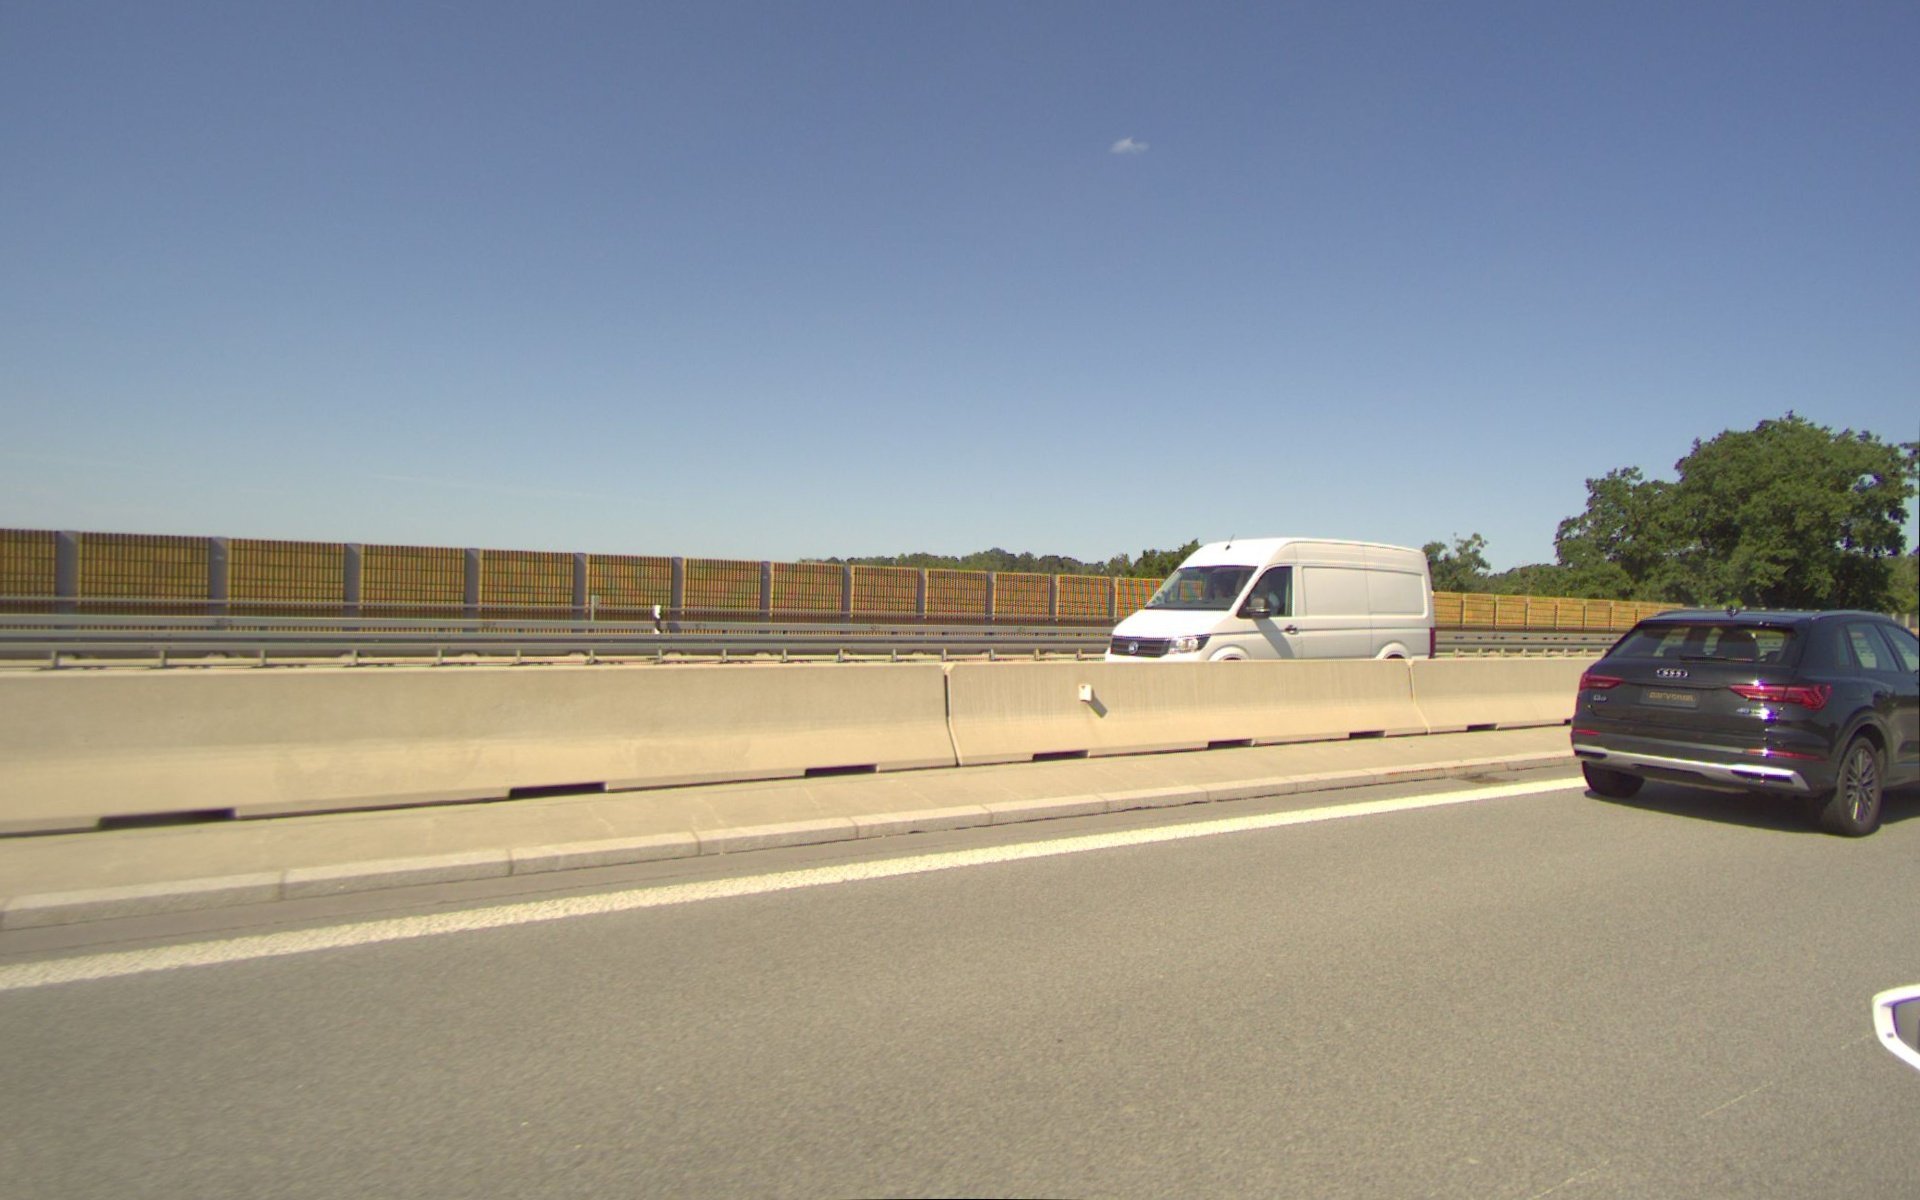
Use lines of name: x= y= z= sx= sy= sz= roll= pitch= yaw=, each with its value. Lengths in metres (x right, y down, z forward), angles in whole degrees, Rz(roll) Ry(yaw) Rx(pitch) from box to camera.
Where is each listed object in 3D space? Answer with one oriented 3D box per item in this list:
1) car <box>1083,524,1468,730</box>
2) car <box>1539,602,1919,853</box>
car: x=5.098 y=0.418 z=15.731 sx=6.413 sy=2.705 sz=2.012 roll=2 pitch=0 yaw=-31
car: x=7.266 y=0.890 z=8.541 sx=5.160 sy=1.609 sz=1.714 roll=2 pitch=0 yaw=-30
